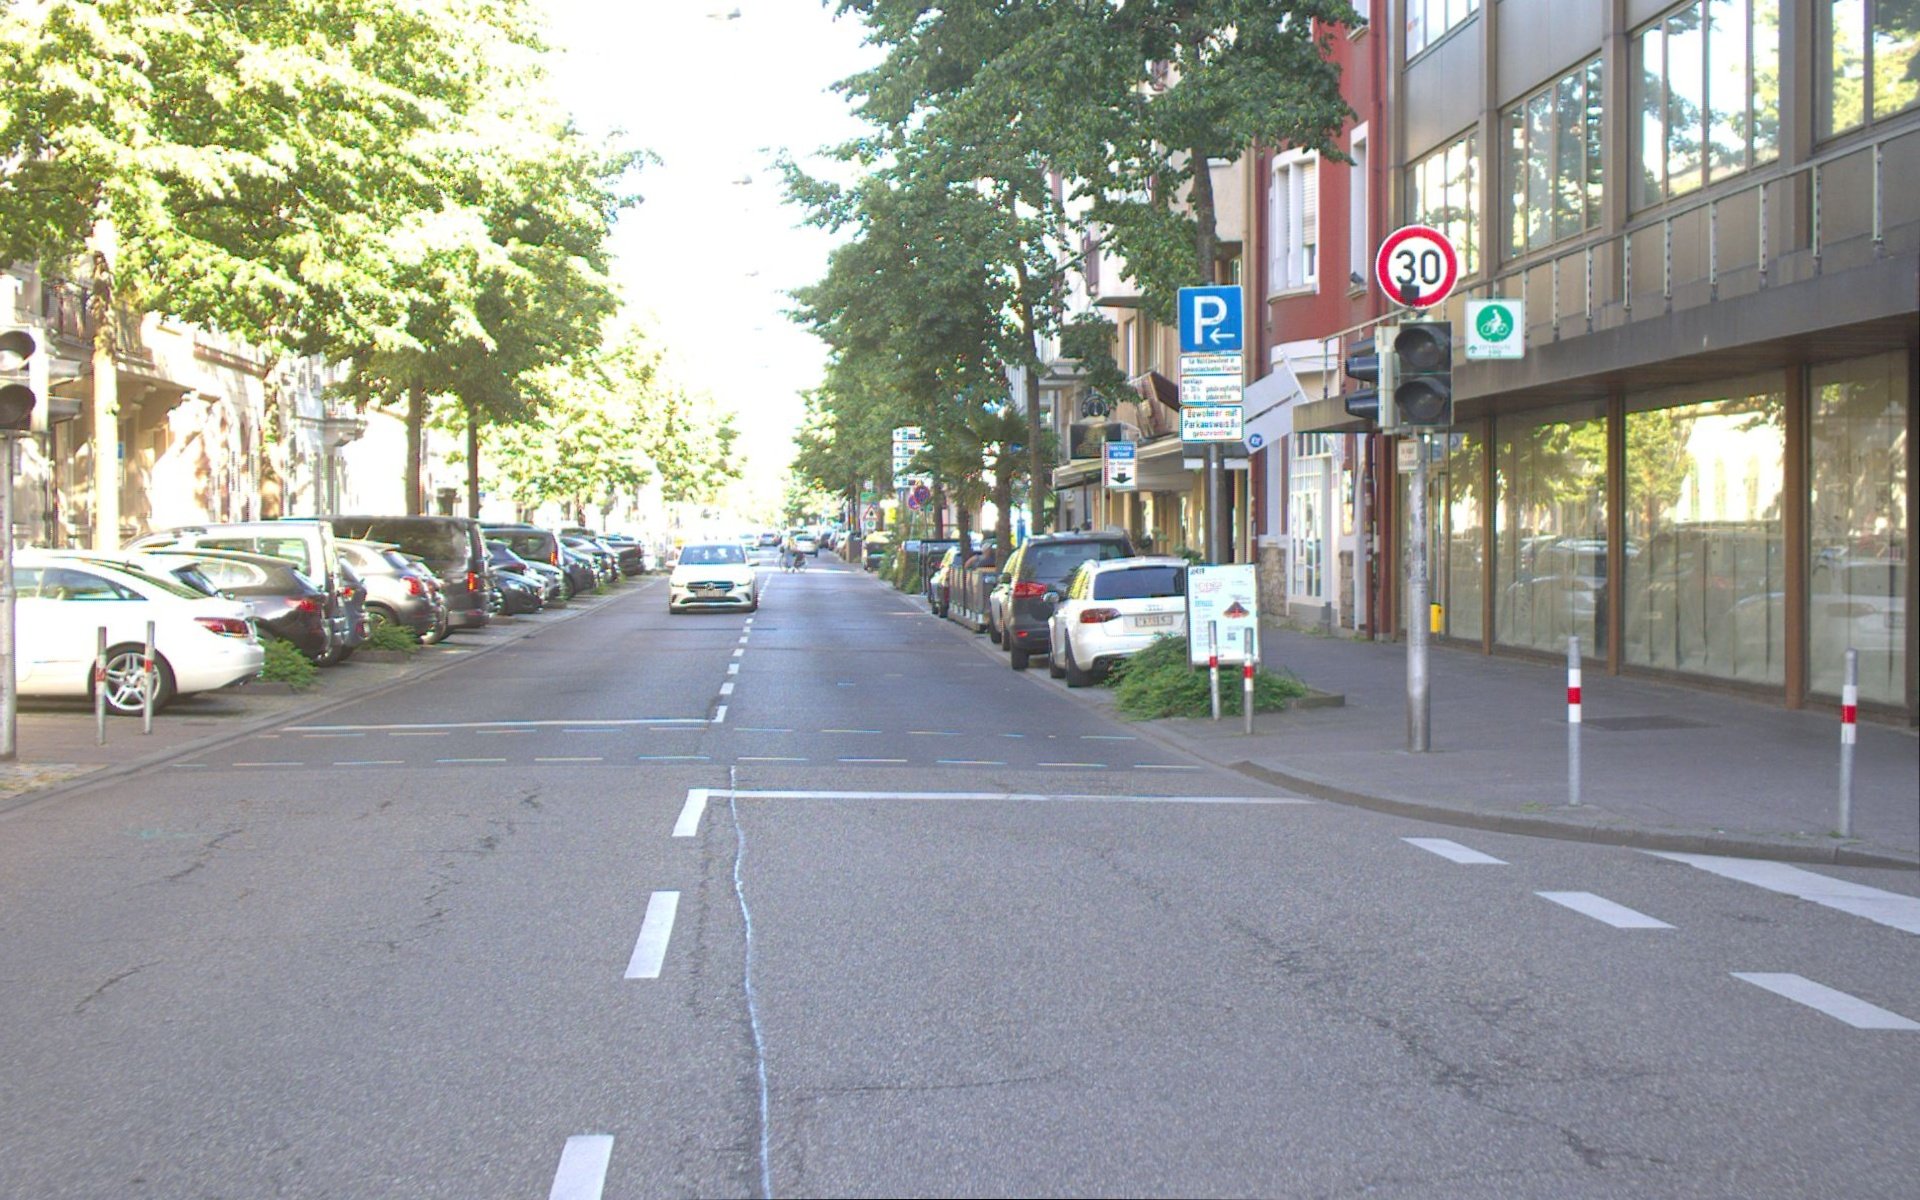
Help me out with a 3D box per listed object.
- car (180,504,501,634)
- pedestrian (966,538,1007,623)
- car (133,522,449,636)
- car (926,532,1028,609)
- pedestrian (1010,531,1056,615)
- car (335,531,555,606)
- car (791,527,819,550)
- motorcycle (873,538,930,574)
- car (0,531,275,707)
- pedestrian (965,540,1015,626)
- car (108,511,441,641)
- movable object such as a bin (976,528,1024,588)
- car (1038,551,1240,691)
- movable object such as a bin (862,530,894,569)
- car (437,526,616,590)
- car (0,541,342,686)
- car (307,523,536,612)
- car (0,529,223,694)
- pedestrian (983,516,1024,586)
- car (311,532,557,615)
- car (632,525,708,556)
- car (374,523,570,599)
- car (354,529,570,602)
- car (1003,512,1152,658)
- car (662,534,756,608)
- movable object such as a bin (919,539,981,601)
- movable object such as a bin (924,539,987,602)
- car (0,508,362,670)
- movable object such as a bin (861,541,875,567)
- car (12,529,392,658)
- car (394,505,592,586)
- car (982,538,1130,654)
[{"bbox_3d":[-9.488,-0.483,52.919,4.573,1.920,1.930,1,1,0],"label":"car"},{"bbox_3d":[0.485,-0.368,62.888,0.650,1.531,0.980,0,1,-4],"label":"pedestrian"},{"bbox_3d":[-9.741,-0.317,50.330,4.338,1.590,1.917,1,1,-5],"label":"car"},{"bbox_3d":[0.318,-0.647,71.637,1.822,1.467,4.912,-2,1,-3],"label":"car"},{"bbox_3d":[1.333,-0.496,62.894,0.712,1.531,0.769,0,1,12],"label":"pedestrian"},{"bbox_3d":[-10.942,-0.676,73.270,4.465,1.535,1.917,1,1,-3],"label":"car"},{"bbox_3d":[-9.976,-3.968,220.732,1.792,1.406,4.001,0,1,-3],"label":"car"},{"bbox_3d":[-2.216,-1.664,130.338,1.977,1.325,0.912,-1,1,-15],"label":"motorcycle"},{"bbox_3d":[-8.641,0.140,30.931,4.698,1.487,2.000,1,0,-7],"label":"car"},{"bbox_3d":[0.546,-0.313,61.591,0.749,1.531,0.807,0,1,12],"label":"pedestrian"},{"bbox_3d":[-9.498,-0.344,47.913,4.338,1.727,1.917,1,1,-5],"label":"car"},{"bbox_3d":[0.963,-1.018,82.562,1.077,1.426,1.295,0,1,-3],"label":"movable object such as a bin"},{"bbox_3d":[1.986,0.191,39.465,1.822,1.398,4.842,-2,1,-2],"label":"car"},{"bbox_3d":[-3.347,-2.071,140.631,1.143,1.556,1.459,0,1,6],"label":"movable object such as a bin"},{"bbox_3d":[-11.869,-1.154,94.328,4.680,1.706,1.808,1,1,-1],"label":"car"},{"bbox_3d":[-9.098,0.137,37.957,4.338,1.539,1.965,0,1,-14],"label":"car"},{"bbox_3d":[-10.749,-0.652,68.900,4.339,1.703,1.917,1,1,-3],"label":"car"},{"bbox_3d":[-9.649,0.061,33.364,4.698,1.487,2.001,1,2,-7],"label":"car"},{"bbox_3d":[1.207,-1.373,95.823,0.926,1.929,0.760,0,1,22],"label":"pedestrian"},{"bbox_3d":[-10.118,-0.517,66.347,4.466,1.535,1.917,1,1,-1],"label":"car"},{"bbox_3d":[-16.118,-3.311,191.060,3.987,1.688,2.000,0,1,2],"label":"car"},{"bbox_3d":[-11.703,-0.940,82.682,4.466,1.766,1.917,1,1,-1],"label":"car"},{"bbox_3d":[-10.985,-0.763,76.025,4.466,1.535,1.916,1,1,1],"label":"car"},{"bbox_3d":[1.517,-0.239,45.875,1.822,1.771,4.930,-2,1,1],"label":"car"},{"bbox_3d":[-5.374,-0.643,73.948,1.910,1.539,4.354,1,1,-3],"label":"car"},{"bbox_3d":[-0.237,-0.717,81.347,1.399,1.449,1.146,0,1,-3],"label":"movable object such as a bin"},{"bbox_3d":[-0.110,-0.705,80.178,1.399,1.449,1.146,0,1,-3],"label":"movable object such as a bin"},{"bbox_3d":[-9.410,-0.146,40.666,4.339,1.818,1.930,1,1,-1],"label":"car"},{"bbox_3d":[-4.221,-2.096,157.732,0.621,1.175,0.712,0,1,-5],"label":"movable object such as a bin"},{"bbox_3d":[-9.523,-0.096,43.389,4.339,1.539,1.916,1,1,2],"label":"car"},{"bbox_3d":[-11.597,-1.366,85.565,4.680,1.943,1.917,1,1,-1],"label":"car"},{"bbox_3d":[1.402,-0.103,52.244,1.822,1.591,4.842,-2,1,-3],"label":"car"}]
